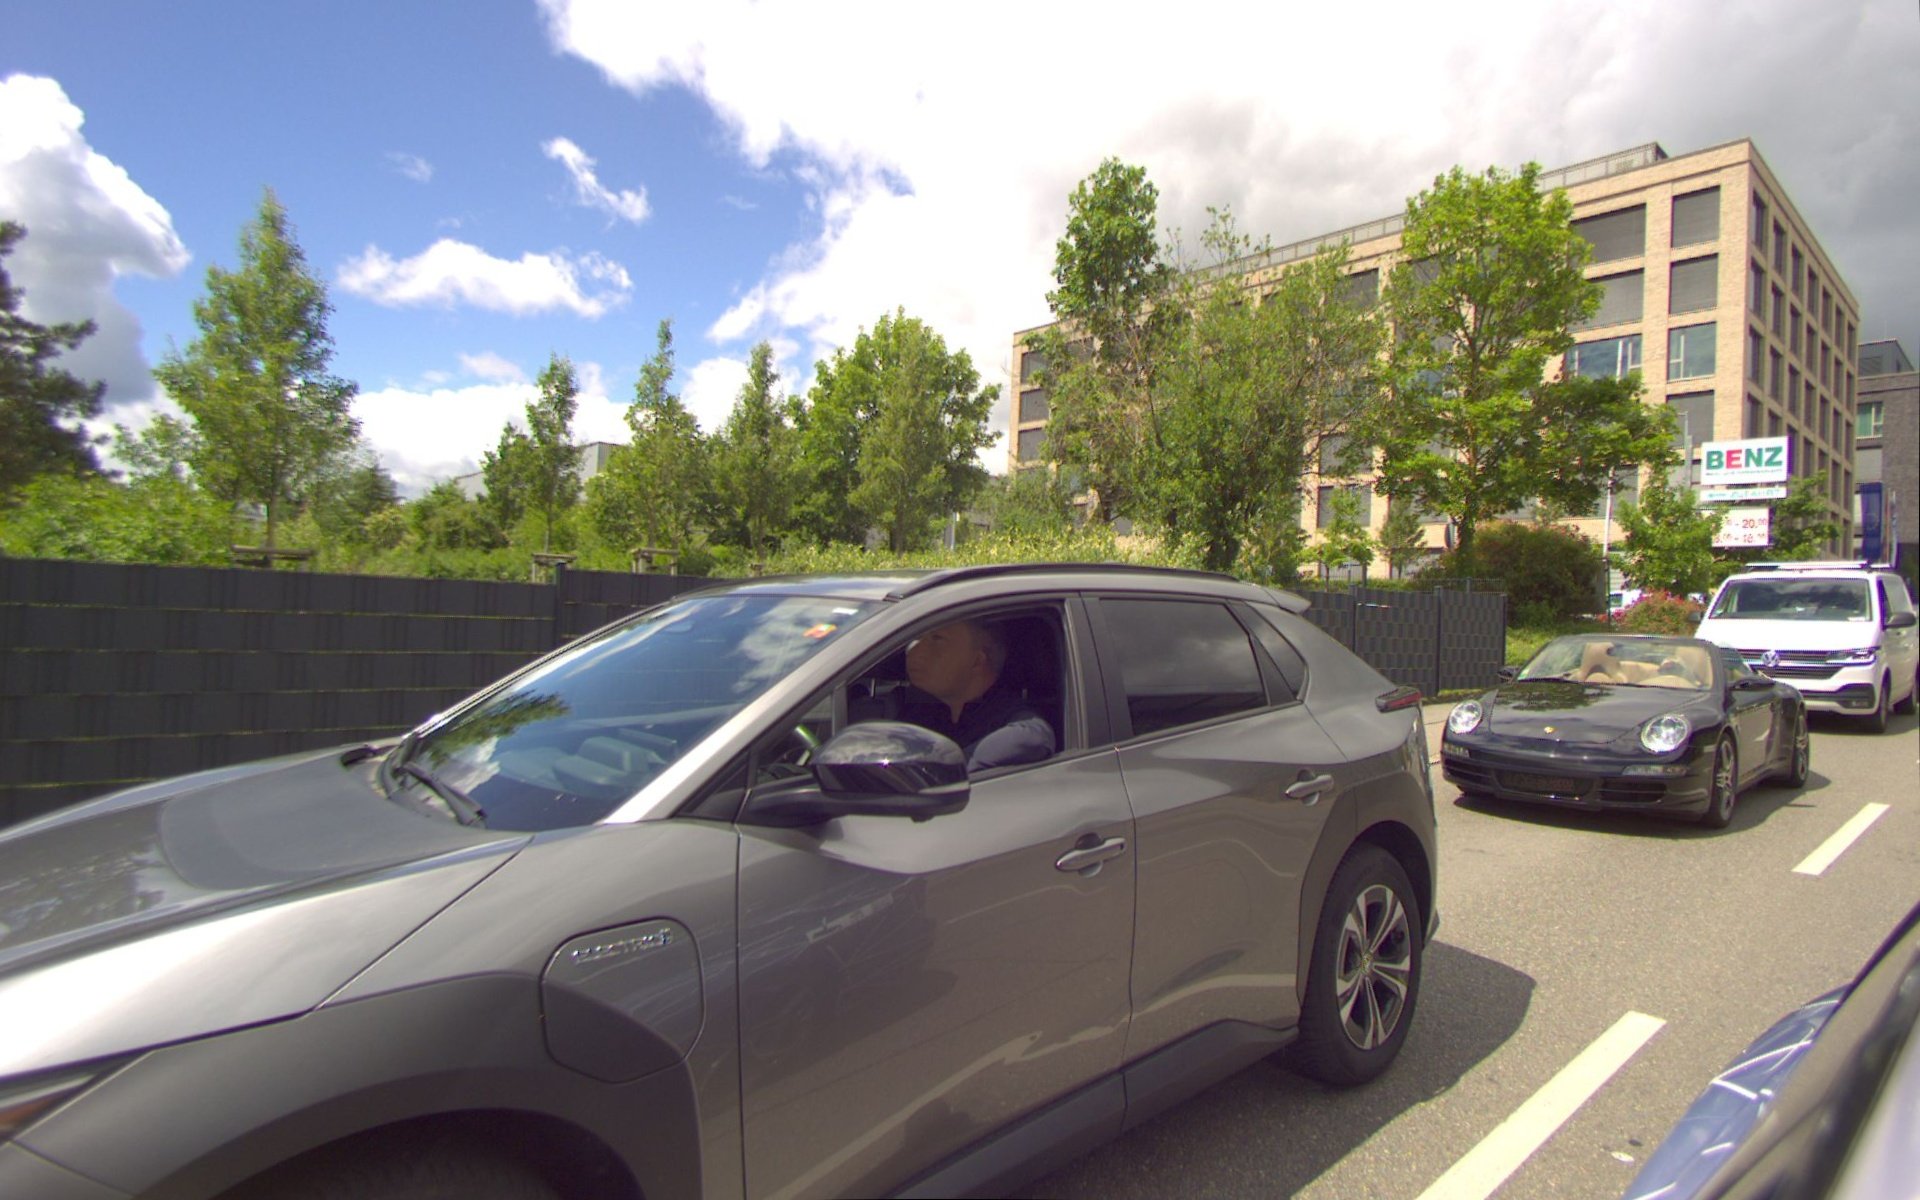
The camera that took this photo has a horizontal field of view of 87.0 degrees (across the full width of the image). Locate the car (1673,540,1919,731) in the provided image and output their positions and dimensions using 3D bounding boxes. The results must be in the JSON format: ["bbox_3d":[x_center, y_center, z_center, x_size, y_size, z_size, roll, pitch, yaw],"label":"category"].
[{"bbox_3d":[11.303,0.376,13.311,4.677,2.075,2.087,0,0,-41],"label":"car"}]

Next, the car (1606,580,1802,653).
[{"bbox_3d":[19.937,0.379,27.221,1.793,1.754,3.991,0,2,-44],"label":"car"}]

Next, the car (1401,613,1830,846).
[{"bbox_3d":[5.304,0.793,7.992,3.967,1.310,1.823,0,0,-41],"label":"car"}]

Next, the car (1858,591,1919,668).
[{"bbox_3d":[20.241,0.581,21.063,3.930,1.481,1.817,0,2,-41],"label":"car"}]

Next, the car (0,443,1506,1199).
[{"bbox_3d":[-0.362,0.642,2.929,4.501,1.649,1.997,0,1,-42],"label":"car"}]
